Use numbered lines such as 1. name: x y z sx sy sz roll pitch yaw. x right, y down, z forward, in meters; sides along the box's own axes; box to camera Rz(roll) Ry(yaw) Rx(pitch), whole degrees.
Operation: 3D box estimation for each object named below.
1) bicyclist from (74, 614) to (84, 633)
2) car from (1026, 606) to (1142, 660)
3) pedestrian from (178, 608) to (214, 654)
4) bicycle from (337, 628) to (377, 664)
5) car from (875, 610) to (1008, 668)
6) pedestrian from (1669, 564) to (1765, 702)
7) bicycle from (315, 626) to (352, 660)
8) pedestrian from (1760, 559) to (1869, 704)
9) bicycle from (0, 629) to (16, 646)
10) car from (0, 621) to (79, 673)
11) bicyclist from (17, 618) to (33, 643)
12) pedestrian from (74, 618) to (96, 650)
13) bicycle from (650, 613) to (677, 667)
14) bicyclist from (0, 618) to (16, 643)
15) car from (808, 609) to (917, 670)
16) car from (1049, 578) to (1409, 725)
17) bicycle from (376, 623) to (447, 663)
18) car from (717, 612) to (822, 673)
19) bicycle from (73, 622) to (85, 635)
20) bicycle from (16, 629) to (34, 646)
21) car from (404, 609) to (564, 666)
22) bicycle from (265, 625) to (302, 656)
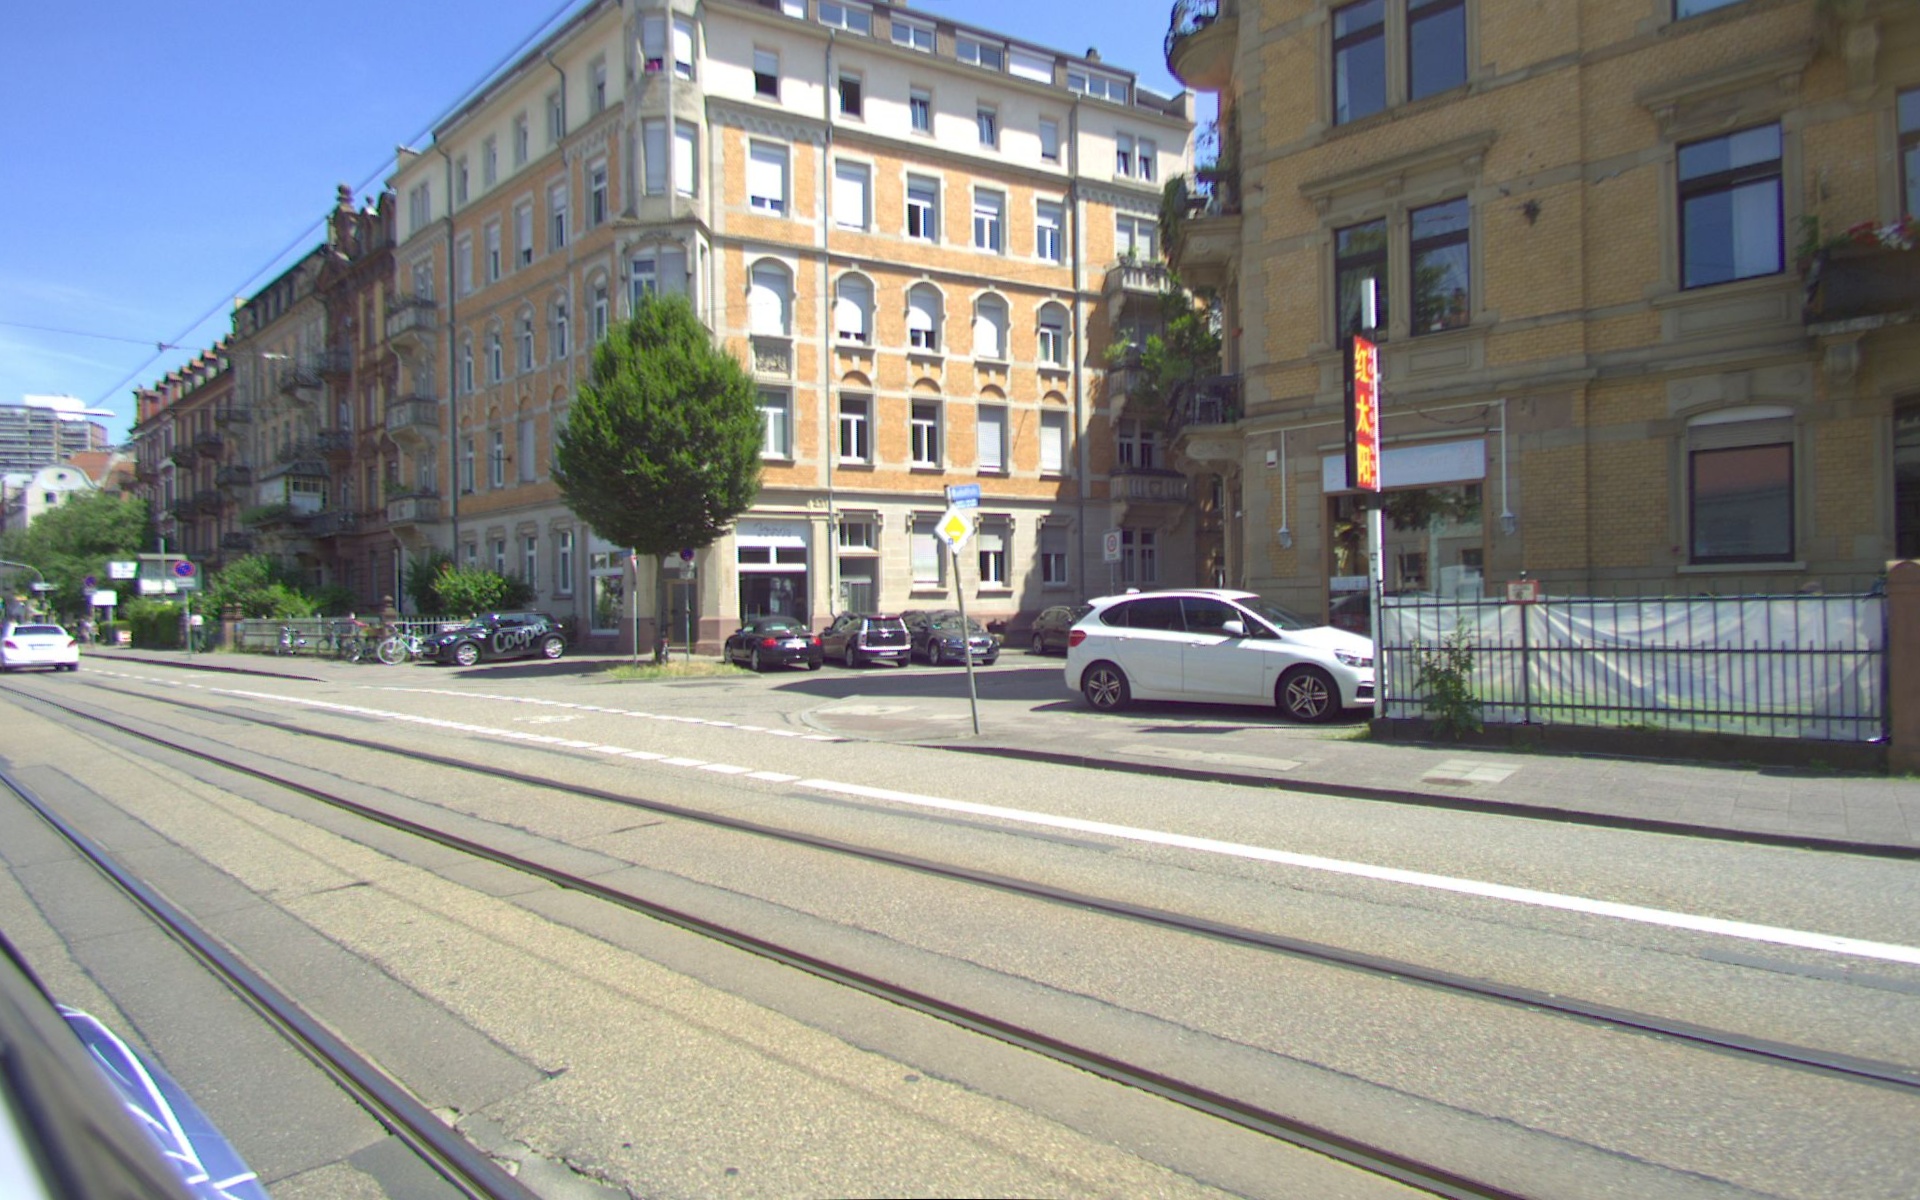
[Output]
1. bicyclist: -71.590 1.874 82.241 0.891 1.527 0.556 -2 -1 42
2. car: 3.732 0.958 31.008 1.603 1.453 3.784 0 1 -29
3. pedestrian: -30.156 1.233 39.960 1.138 1.736 0.842 -2 2 42
4. bicycle: -17.322 1.312 29.078 1.709 0.991 0.434 -2 -1 40
5. car: -0.644 1.023 28.668 1.716 1.375 4.841 0 1 -29
6. pedestrian: 7.551 0.330 10.117 0.710 1.308 0.703 -2 -3 37
7. bicycle: -18.846 1.298 30.437 1.709 0.991 0.434 -2 -1 40
8. pedestrian: 8.146 0.305 9.680 0.710 1.308 0.703 -2 -3 37
9. bicycle: -60.263 2.379 64.048 1.889 1.086 0.575 -2 -2 41
10. car: -27.688 1.358 30.113 3.999 1.435 1.737 -1 -2 42
11. bicyclist: -59.865 1.933 64.779 1.028 1.596 0.627 -2 -2 41
12. pedestrian: -46.872 1.819 54.214 0.861 1.713 1.014 0 -1 -43
13. bicycle: -7.345 0.963 25.035 0.493 1.237 1.856 0 1 -21
14. bicyclist: -60.252 1.941 64.052 0.951 1.556 0.586 -2 -2 41
15. car: -2.740 1.017 27.646 1.603 1.450 3.784 0 1 -29
16. car: 3.400 0.585 13.088 4.094 1.612 1.849 -1 0 36
17. bicycle: -15.642 1.214 28.898 1.685 1.045 0.551 0 -1 -45
18. car: -5.037 1.052 26.432 1.603 1.349 3.784 0 1 -29
19. bicycle: -71.567 2.324 82.210 1.828 1.046 0.561 -2 -1 42
20. bicycle: -59.836 2.391 64.737 1.874 1.086 0.622 -2 -2 41
21. car: -13.343 1.005 28.503 1.713 1.439 3.720 0 0 41
22. bicycle: -22.654 1.350 33.893 1.709 0.994 0.492 -2 3 40
